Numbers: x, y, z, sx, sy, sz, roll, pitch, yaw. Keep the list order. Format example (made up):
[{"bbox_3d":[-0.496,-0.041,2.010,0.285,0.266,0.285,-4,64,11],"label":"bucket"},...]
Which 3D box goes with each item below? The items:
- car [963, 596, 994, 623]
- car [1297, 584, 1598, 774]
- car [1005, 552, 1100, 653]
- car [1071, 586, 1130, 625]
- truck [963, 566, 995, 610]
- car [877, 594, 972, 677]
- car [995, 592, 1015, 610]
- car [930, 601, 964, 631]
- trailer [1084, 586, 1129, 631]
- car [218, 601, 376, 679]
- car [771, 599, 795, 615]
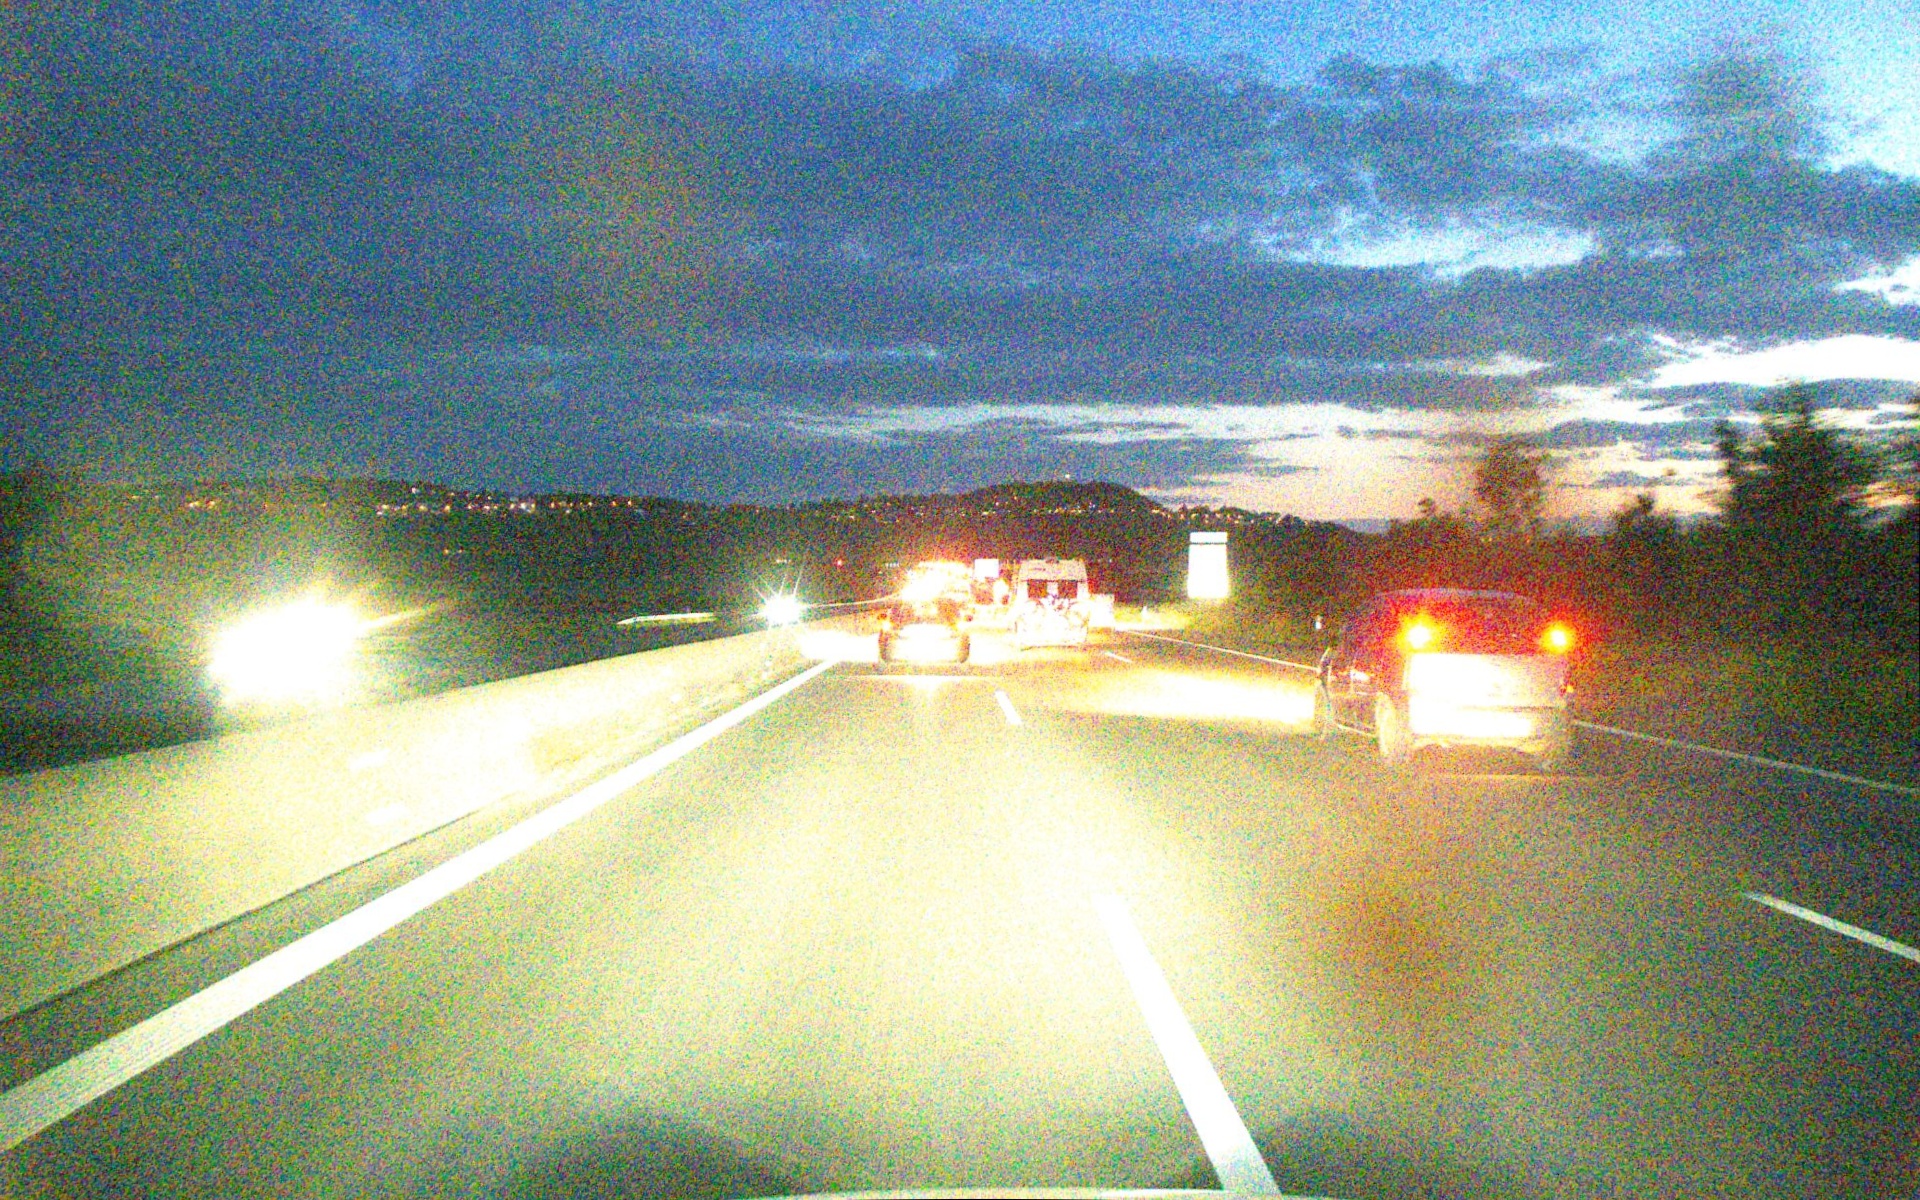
[{"bbox_3d":[1.361,0.673,123.816,2.303,1.947,4.722,-1,0,0],"label":"car"},{"bbox_3d":[4.646,0.673,16.451,1.613,1.624,4.509,0,0,-1],"label":"car"},{"bbox_3d":[2.492,0.034,46.156,2.303,2.579,5.701,-1,1,0],"label":"car"},{"bbox_3d":[5.932,0.232,70.225,2.118,1.591,4.722,0,0,0],"label":"car"},{"bbox_3d":[1.791,-1.143,159.222,2.725,4.024,7.990,-1,0,-2],"label":"truck"},{"bbox_3d":[-0.654,0.655,32.434,1.757,1.494,3.773,0,1,0],"label":"car"},{"bbox_3d":[5.585,0.073,203.687,2.303,2.112,4.723,-1,1,0],"label":"car"},{"bbox_3d":[-0.671,0.834,88.190,1.709,1.465,4.367,-1,1,0],"label":"car"},{"bbox_3d":[5.877,0.334,66.570,1.534,1.723,2.820,-1,0,-1],"label":"trailer"},{"bbox_3d":[-16.796,0.960,42.181,2.003,1.750,4.774,-3,0,0],"label":"car"},{"bbox_3d":[-17.441,0.676,163.125,1.954,1.444,4.981,-3,0,-2],"label":"car"}]
